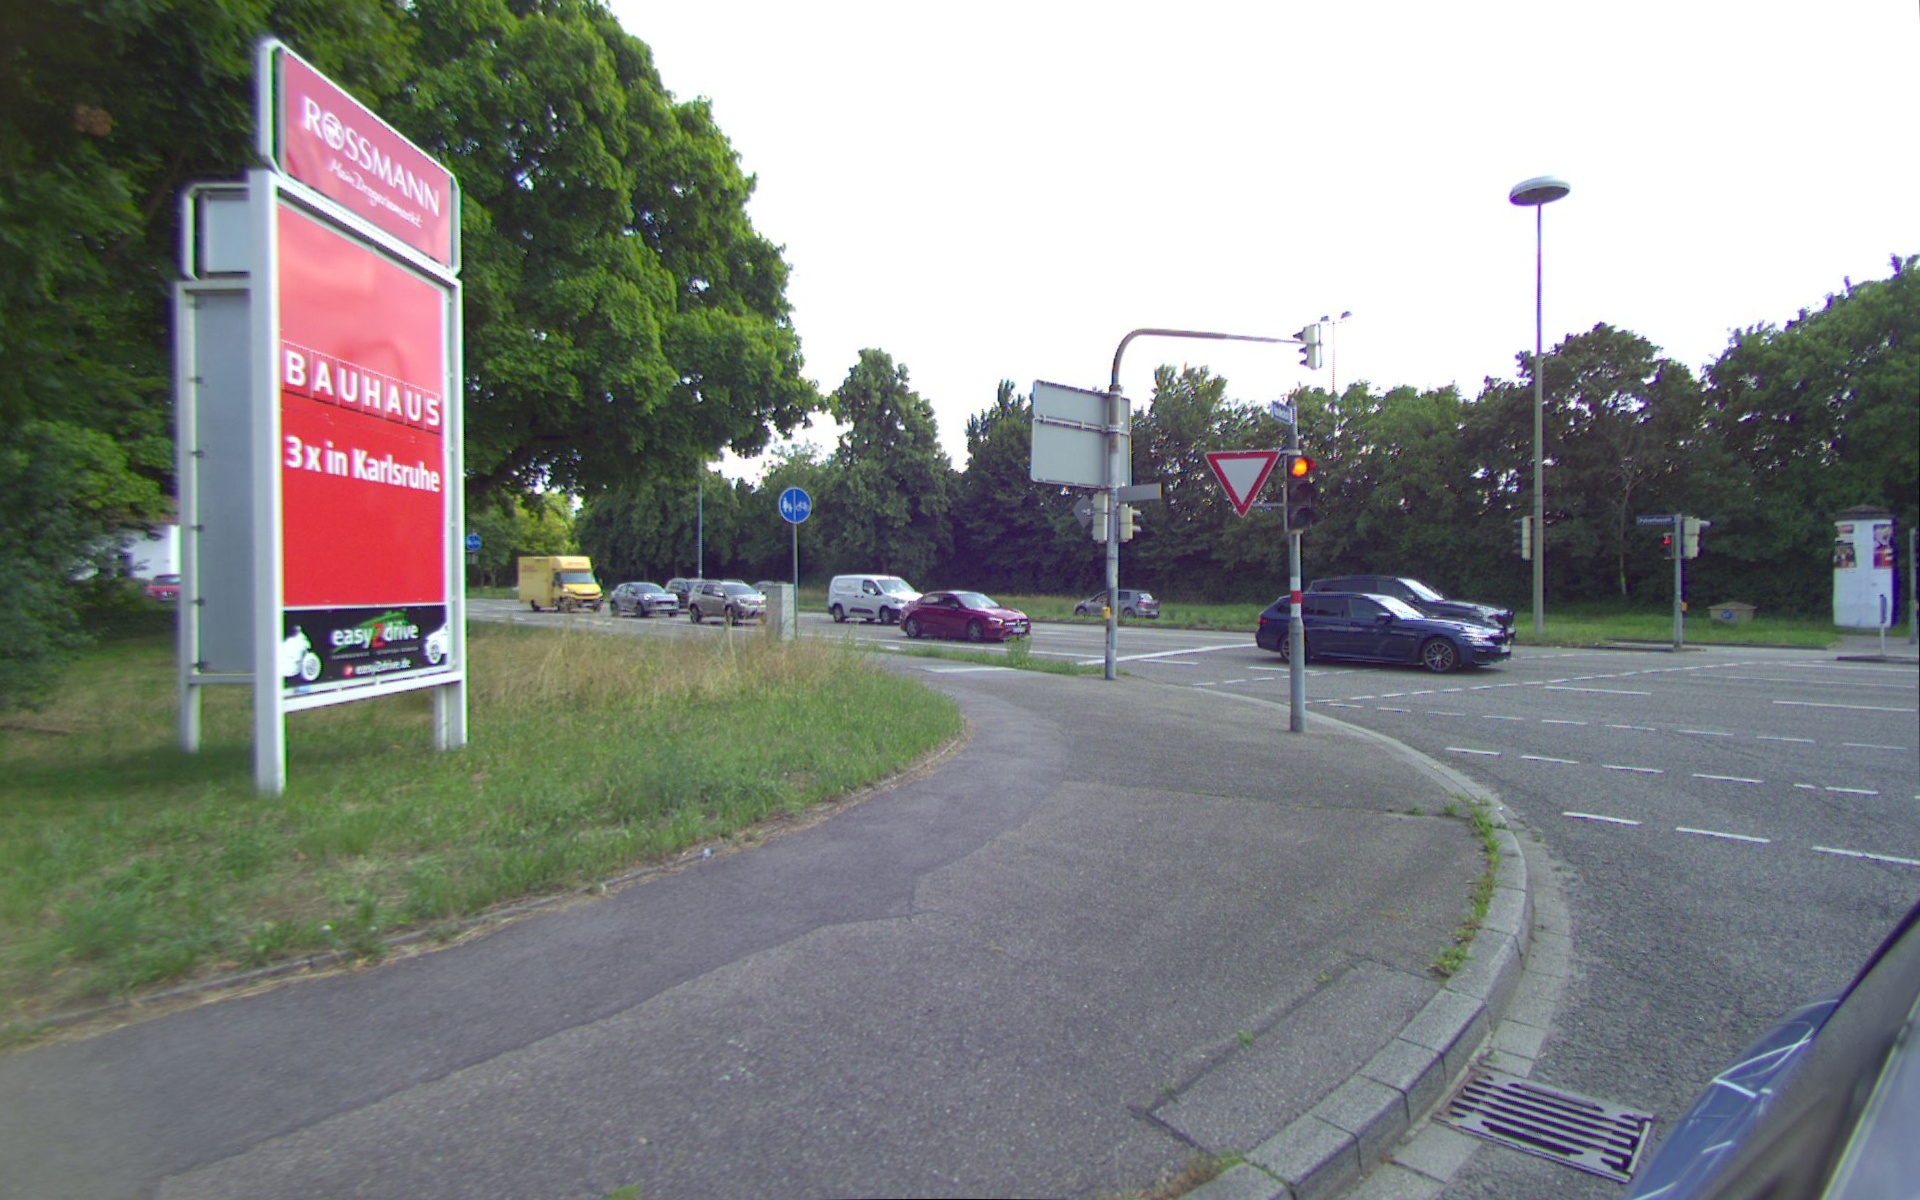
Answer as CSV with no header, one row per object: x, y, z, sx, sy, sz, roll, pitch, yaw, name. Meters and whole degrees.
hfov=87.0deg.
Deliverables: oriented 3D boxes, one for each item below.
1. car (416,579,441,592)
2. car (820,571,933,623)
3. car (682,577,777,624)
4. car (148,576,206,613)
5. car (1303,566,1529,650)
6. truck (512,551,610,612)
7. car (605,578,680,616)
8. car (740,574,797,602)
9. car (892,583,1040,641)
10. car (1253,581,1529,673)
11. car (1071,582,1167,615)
-64.201,-1.791,122.198,1.507,1.476,4.196,-1,2,-44,car
-3.229,-0.164,38.494,1.742,1.820,4.721,-2,3,-43,car
-8.941,-0.015,39.008,1.700,1.631,4.167,-3,3,-43,car
-34.875,-0.281,45.148,1.649,1.550,4.396,-1,1,-32,car
10.602,0.088,23.788,1.788,1.767,4.540,-2,3,-43,car
-20.731,-0.998,52.369,2.327,2.894,6.951,-4,3,-43,truck
-14.233,-0.161,45.293,1.700,1.549,3.886,-4,4,-43,car
-12.651,-0.825,66.664,1.648,1.763,4.301,-2,2,-43,car
0.097,0.282,29.503,1.700,1.480,4.525,-4,3,-43,car
8.538,0.440,20.420,1.773,1.515,4.863,-4,4,-43,car
6.942,-0.094,44.506,4.069,1.390,1.574,1,1,45,car
